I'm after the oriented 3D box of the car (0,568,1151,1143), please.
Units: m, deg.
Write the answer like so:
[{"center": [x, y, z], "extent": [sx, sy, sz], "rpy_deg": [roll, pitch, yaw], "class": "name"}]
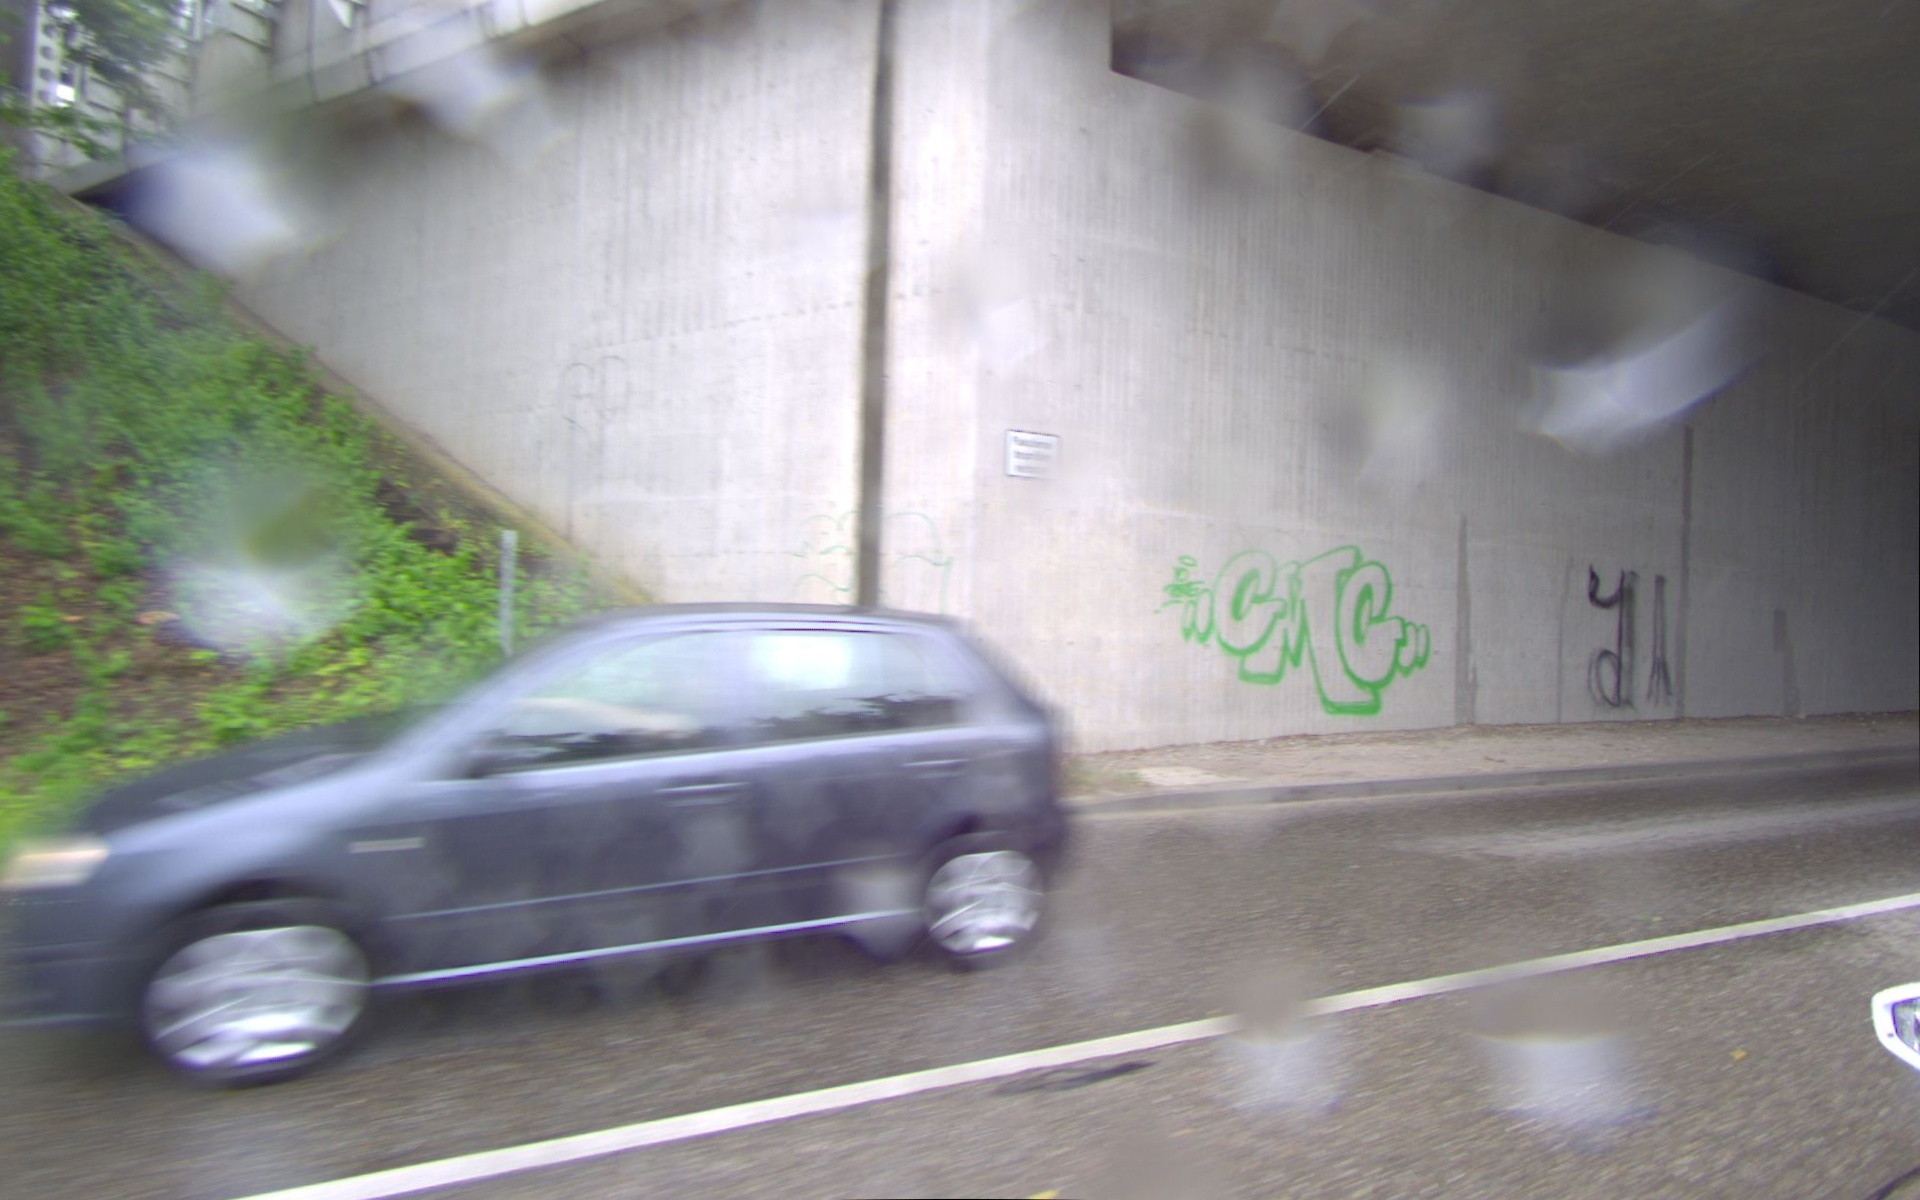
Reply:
[{"center": [-1.382, 0.702, 4.097], "extent": [4.018, 1.507, 1.685], "rpy_deg": [2, 0, -25], "class": "car"}]
